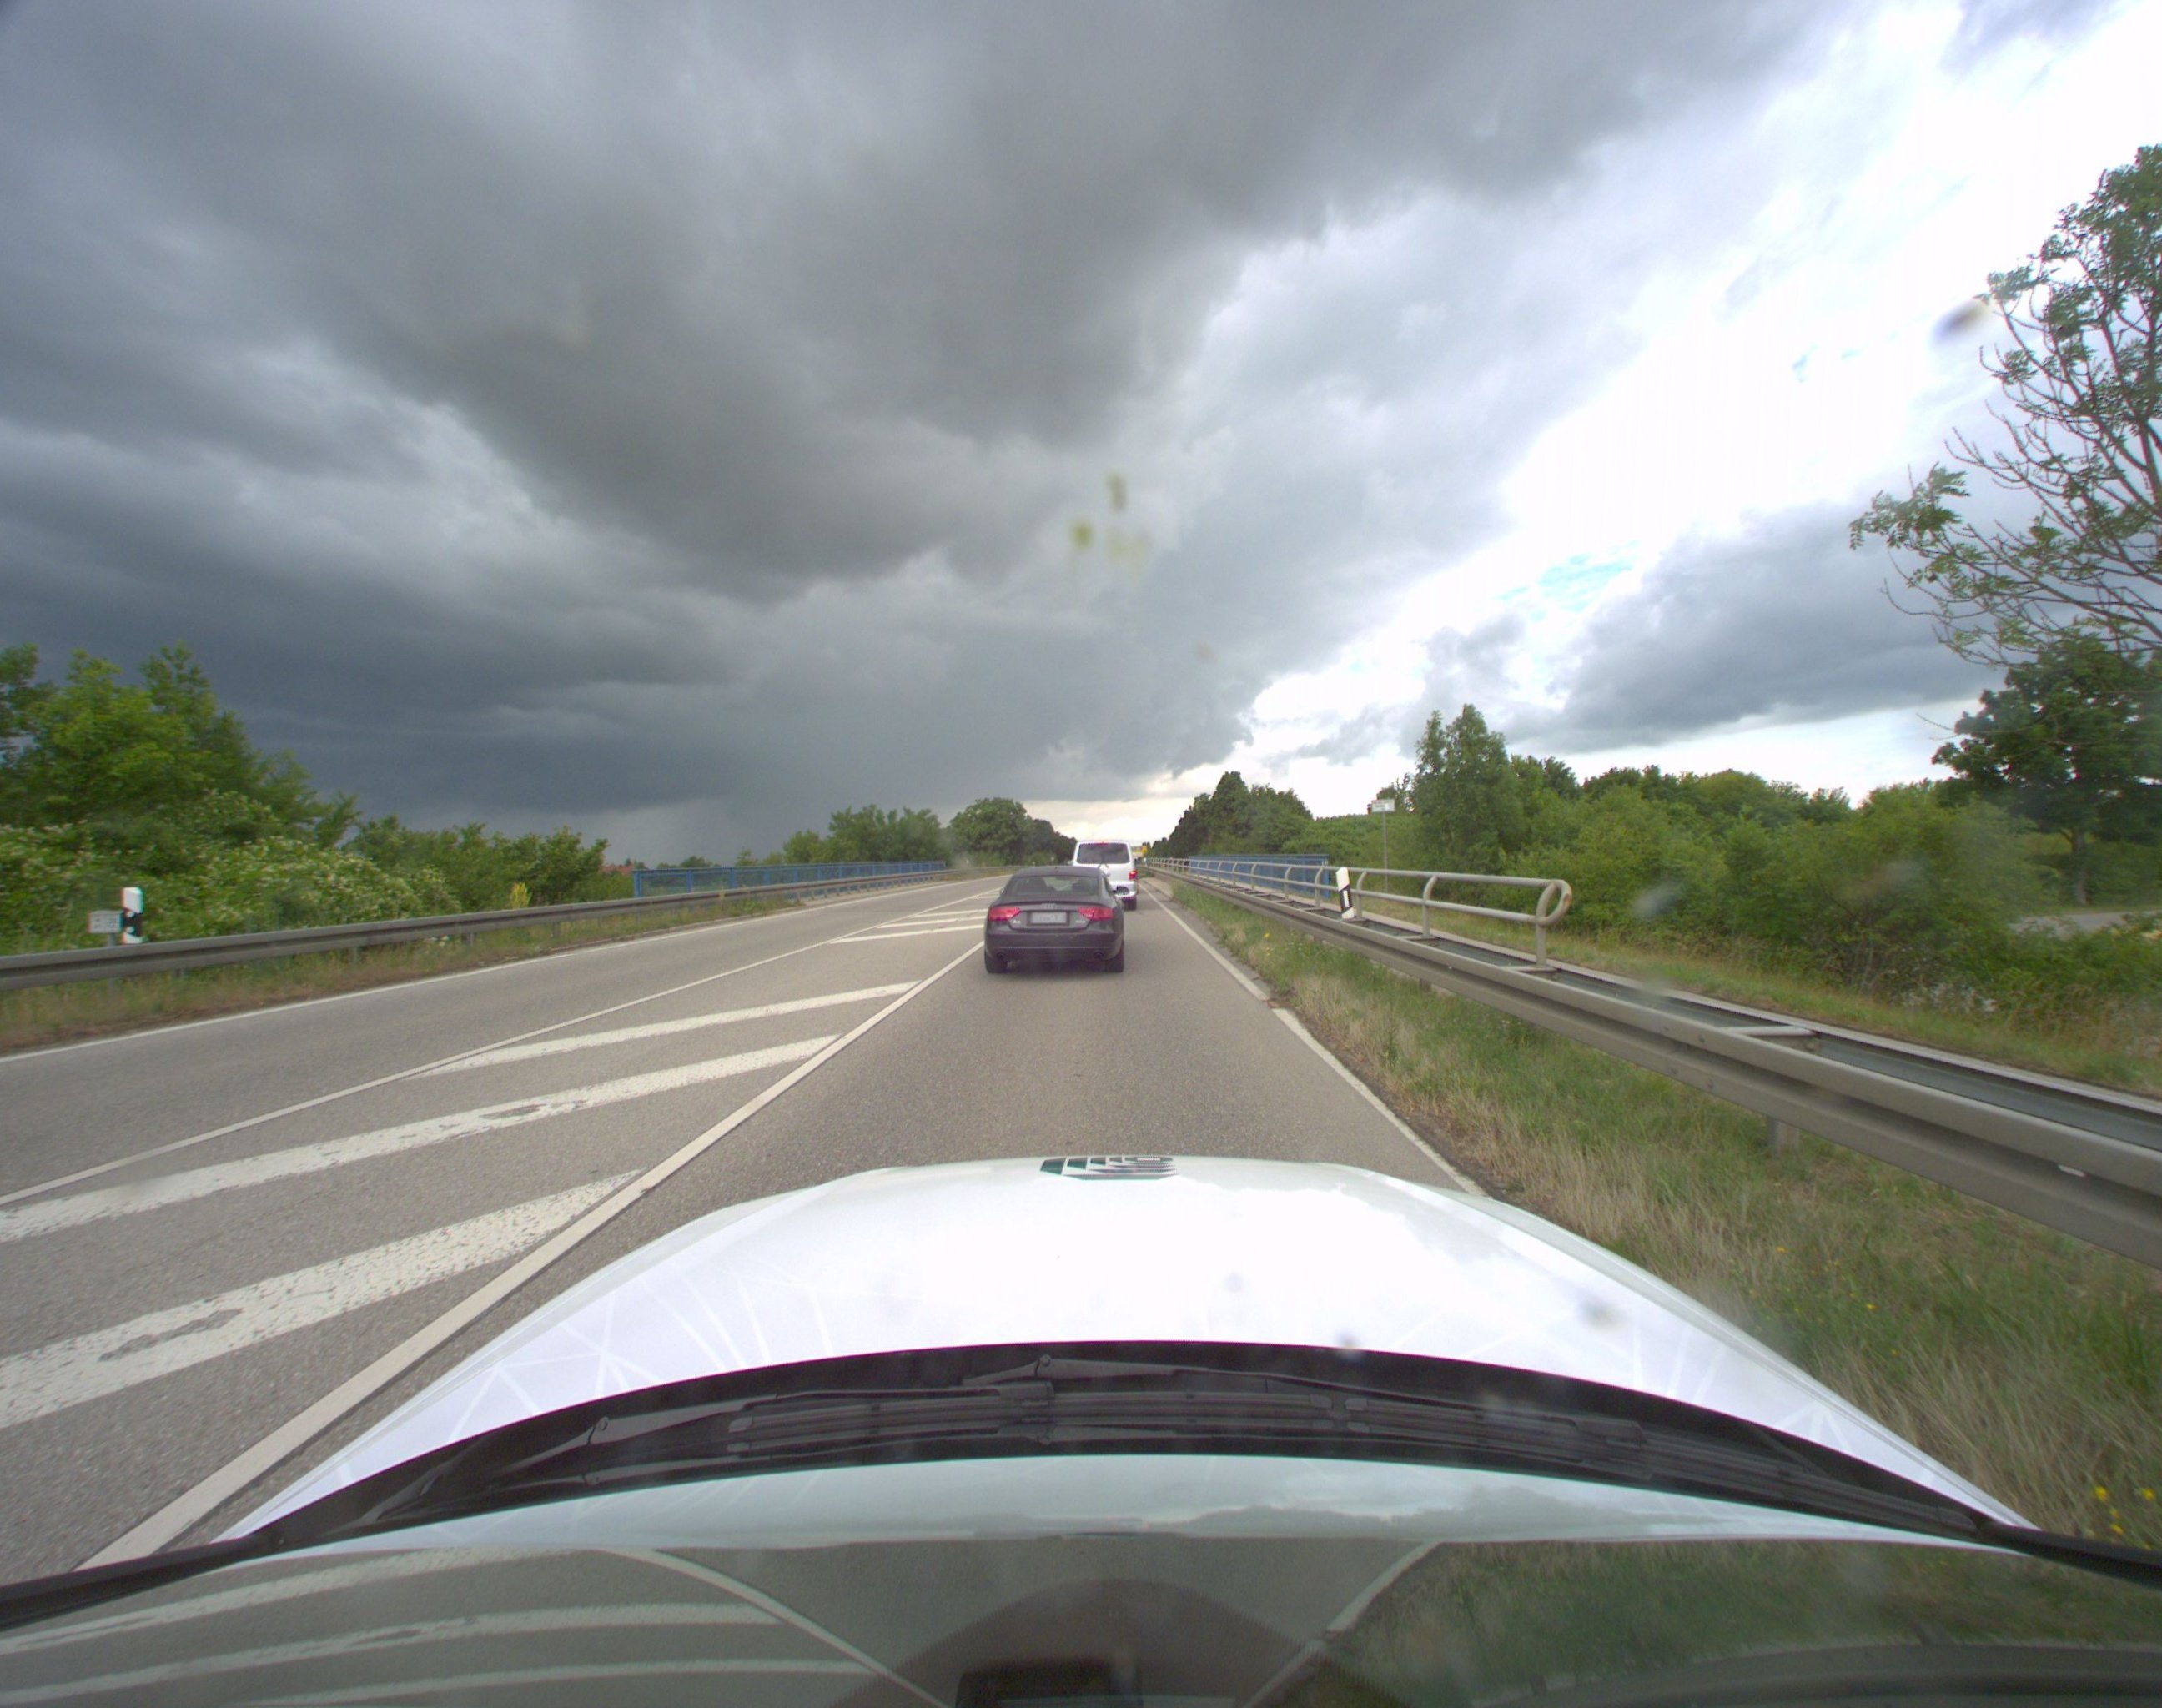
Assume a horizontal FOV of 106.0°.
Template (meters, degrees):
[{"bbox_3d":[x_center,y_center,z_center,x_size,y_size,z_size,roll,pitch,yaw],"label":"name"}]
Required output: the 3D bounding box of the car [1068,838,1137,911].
[{"bbox_3d":[0.646,0.566,23.948,1.821,1.935,4.002,-1,0,2],"label":"car"}]

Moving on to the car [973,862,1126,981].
[{"bbox_3d":[-0.266,0.834,11.818,1.814,1.381,4.075,-1,0,3],"label":"car"}]

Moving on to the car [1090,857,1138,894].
[{"bbox_3d":[1.390,0.852,33.426,1.814,1.381,4.075,-1,0,3],"label":"car"}]
